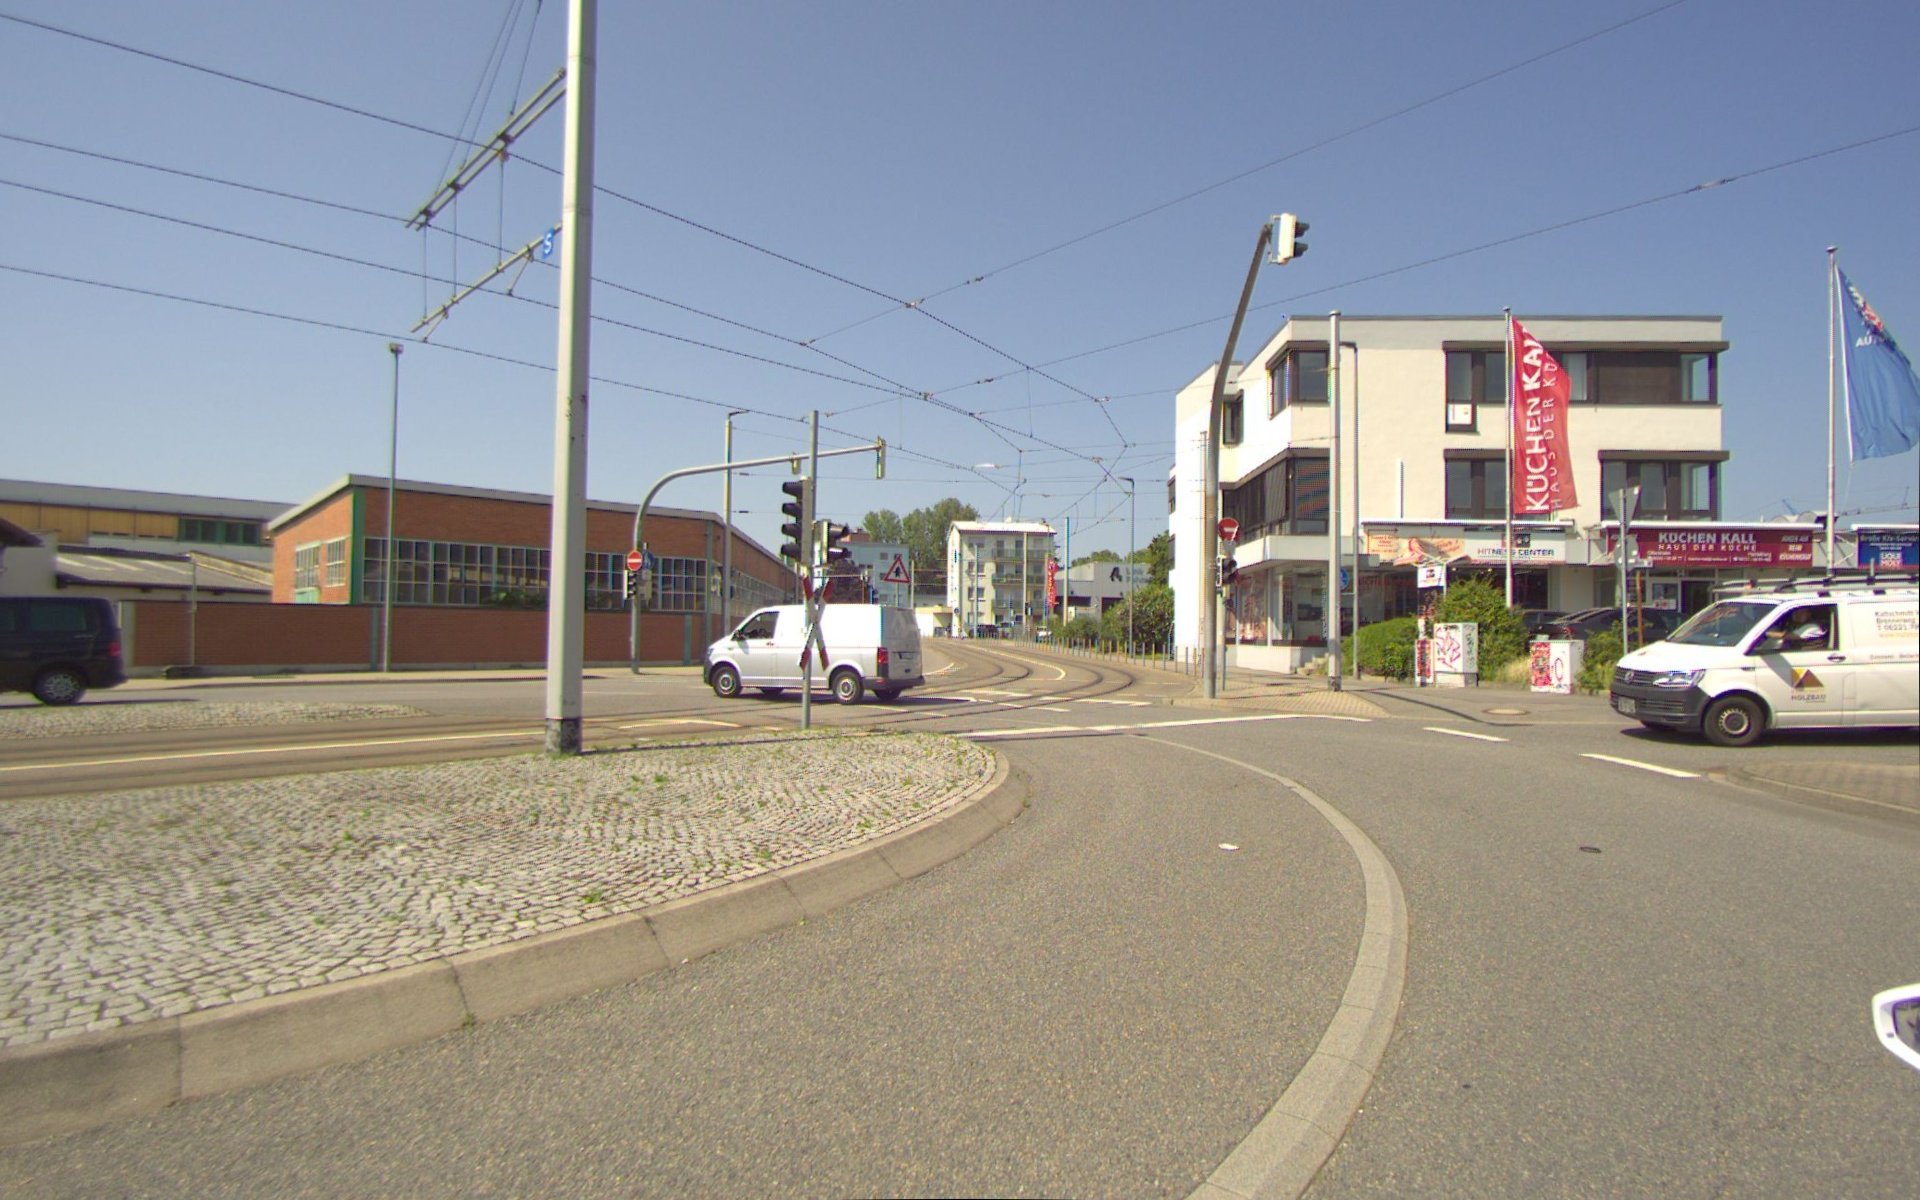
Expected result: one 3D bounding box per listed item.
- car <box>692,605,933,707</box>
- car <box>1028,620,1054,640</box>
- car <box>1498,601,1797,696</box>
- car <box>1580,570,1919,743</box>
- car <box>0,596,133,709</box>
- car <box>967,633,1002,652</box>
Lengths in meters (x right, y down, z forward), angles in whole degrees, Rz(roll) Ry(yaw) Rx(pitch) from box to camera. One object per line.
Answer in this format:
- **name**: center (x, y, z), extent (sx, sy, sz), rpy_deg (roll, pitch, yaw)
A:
- **car**: center (-3.112, 1.104, 21.068), extent (4.738, 1.961, 1.932), rpy_deg (0, -1, 26)
- **car**: center (7.448, 2.767, 92.373), extent (1.961, 1.806, 4.000), rpy_deg (0, -2, -1)
- **car**: center (15.047, 1.051, 22.243), extent (5.174, 1.991, 1.967), rpy_deg (0, -1, 4)
- **car**: center (11.459, 0.723, 13.550), extent (4.834, 2.142, 2.029), rpy_deg (-1, -1, 9)
- **car**: center (-17.586, 0.916, 17.611), extent (2.070, 1.935, 4.610), rpy_deg (-1, -1, 45)
- **car**: center (2.611, 4.604, 109.170), extent (1.978, 2.040, 3.966), rpy_deg (1, -3, -32)
